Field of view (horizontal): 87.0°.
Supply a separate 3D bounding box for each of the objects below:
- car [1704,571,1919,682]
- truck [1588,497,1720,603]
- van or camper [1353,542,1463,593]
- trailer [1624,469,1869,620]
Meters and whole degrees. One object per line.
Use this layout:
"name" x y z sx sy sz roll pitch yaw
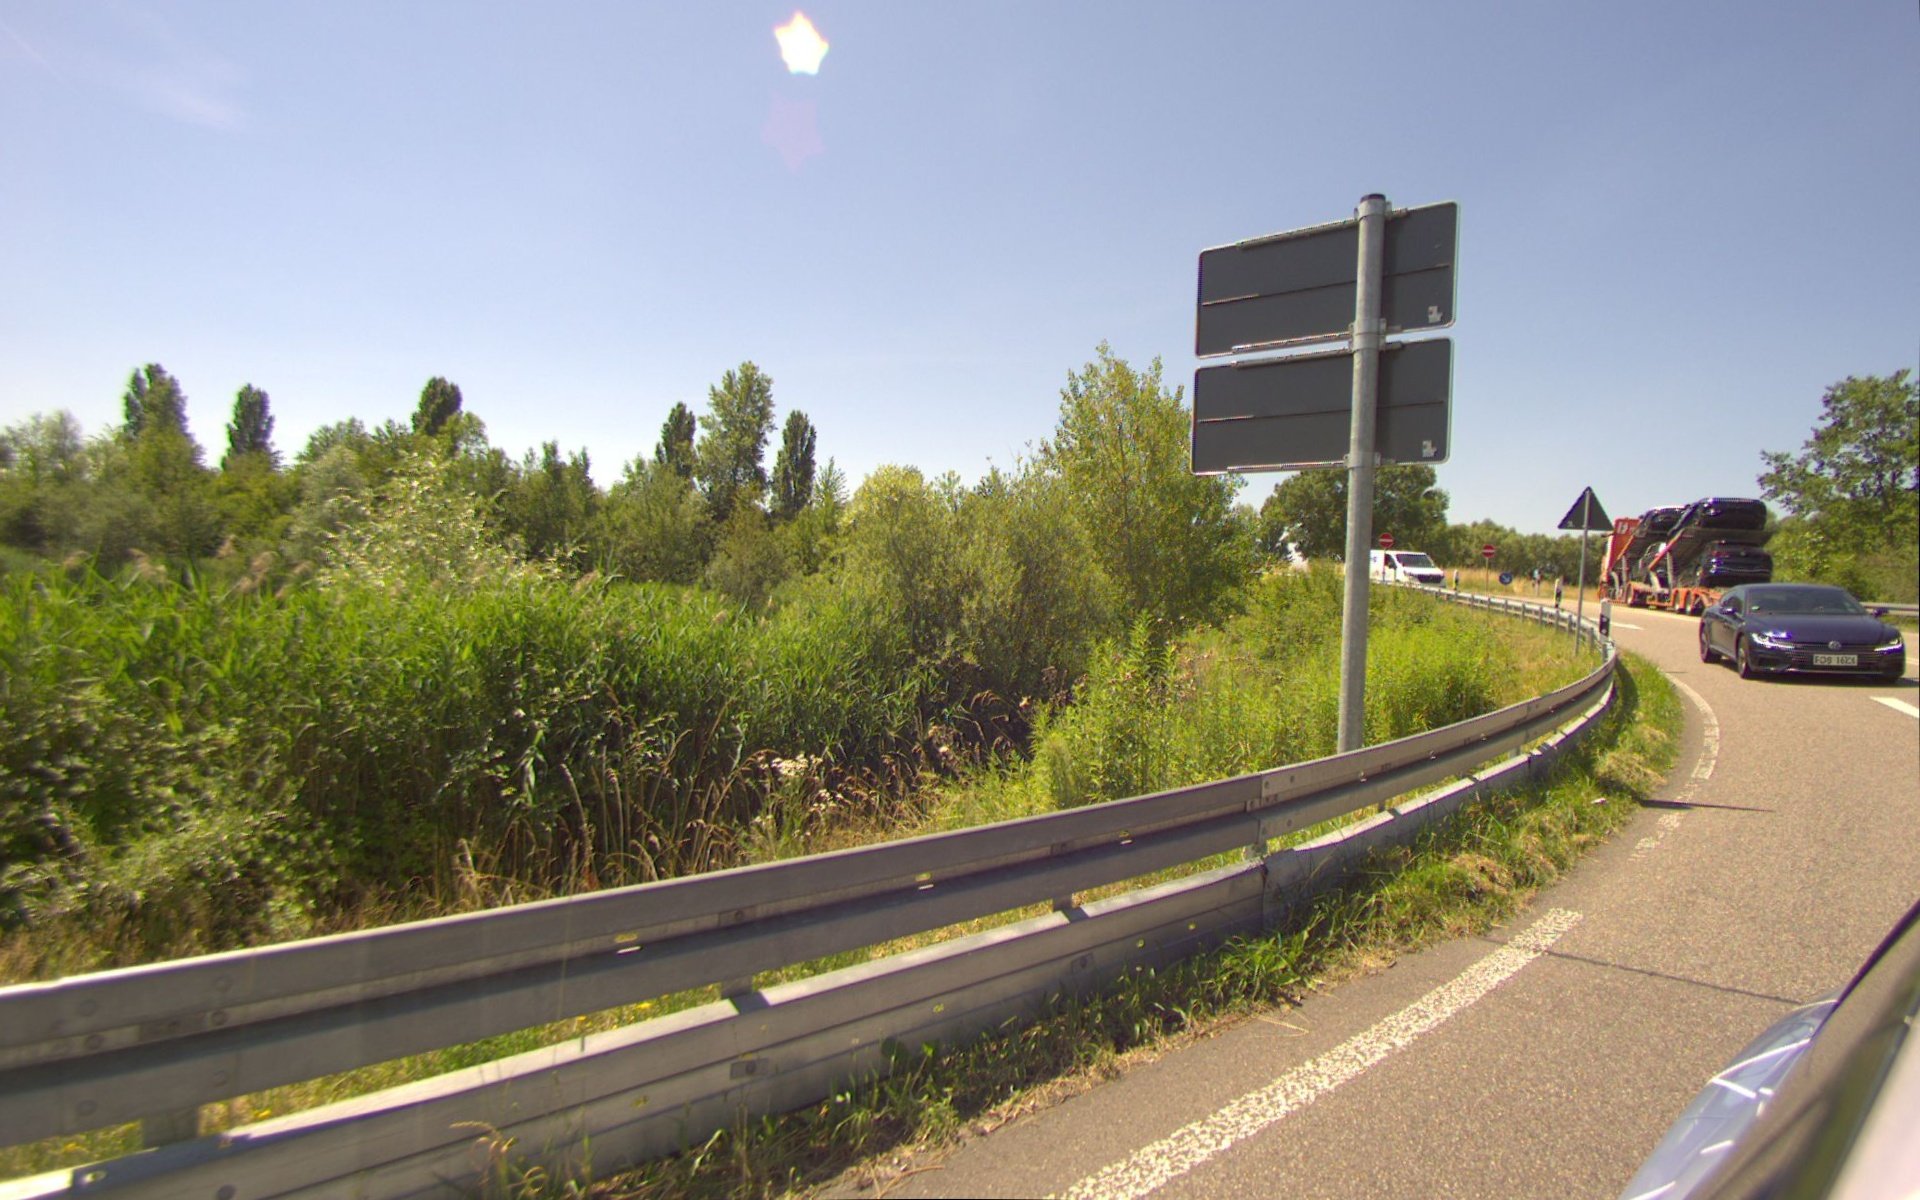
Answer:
"car" 13.405 0.325 16.164 1.827 1.448 4.489 -2 1 29
"truck" 28.855 -2.036 42.525 2.766 3.946 8.716 0 2 22
"van or camper" 19.624 -1.400 44.638 1.970 2.056 5.454 -2 1 -5
"trailer" 25.210 -1.698 33.533 2.770 3.946 13.885 0 2 22
